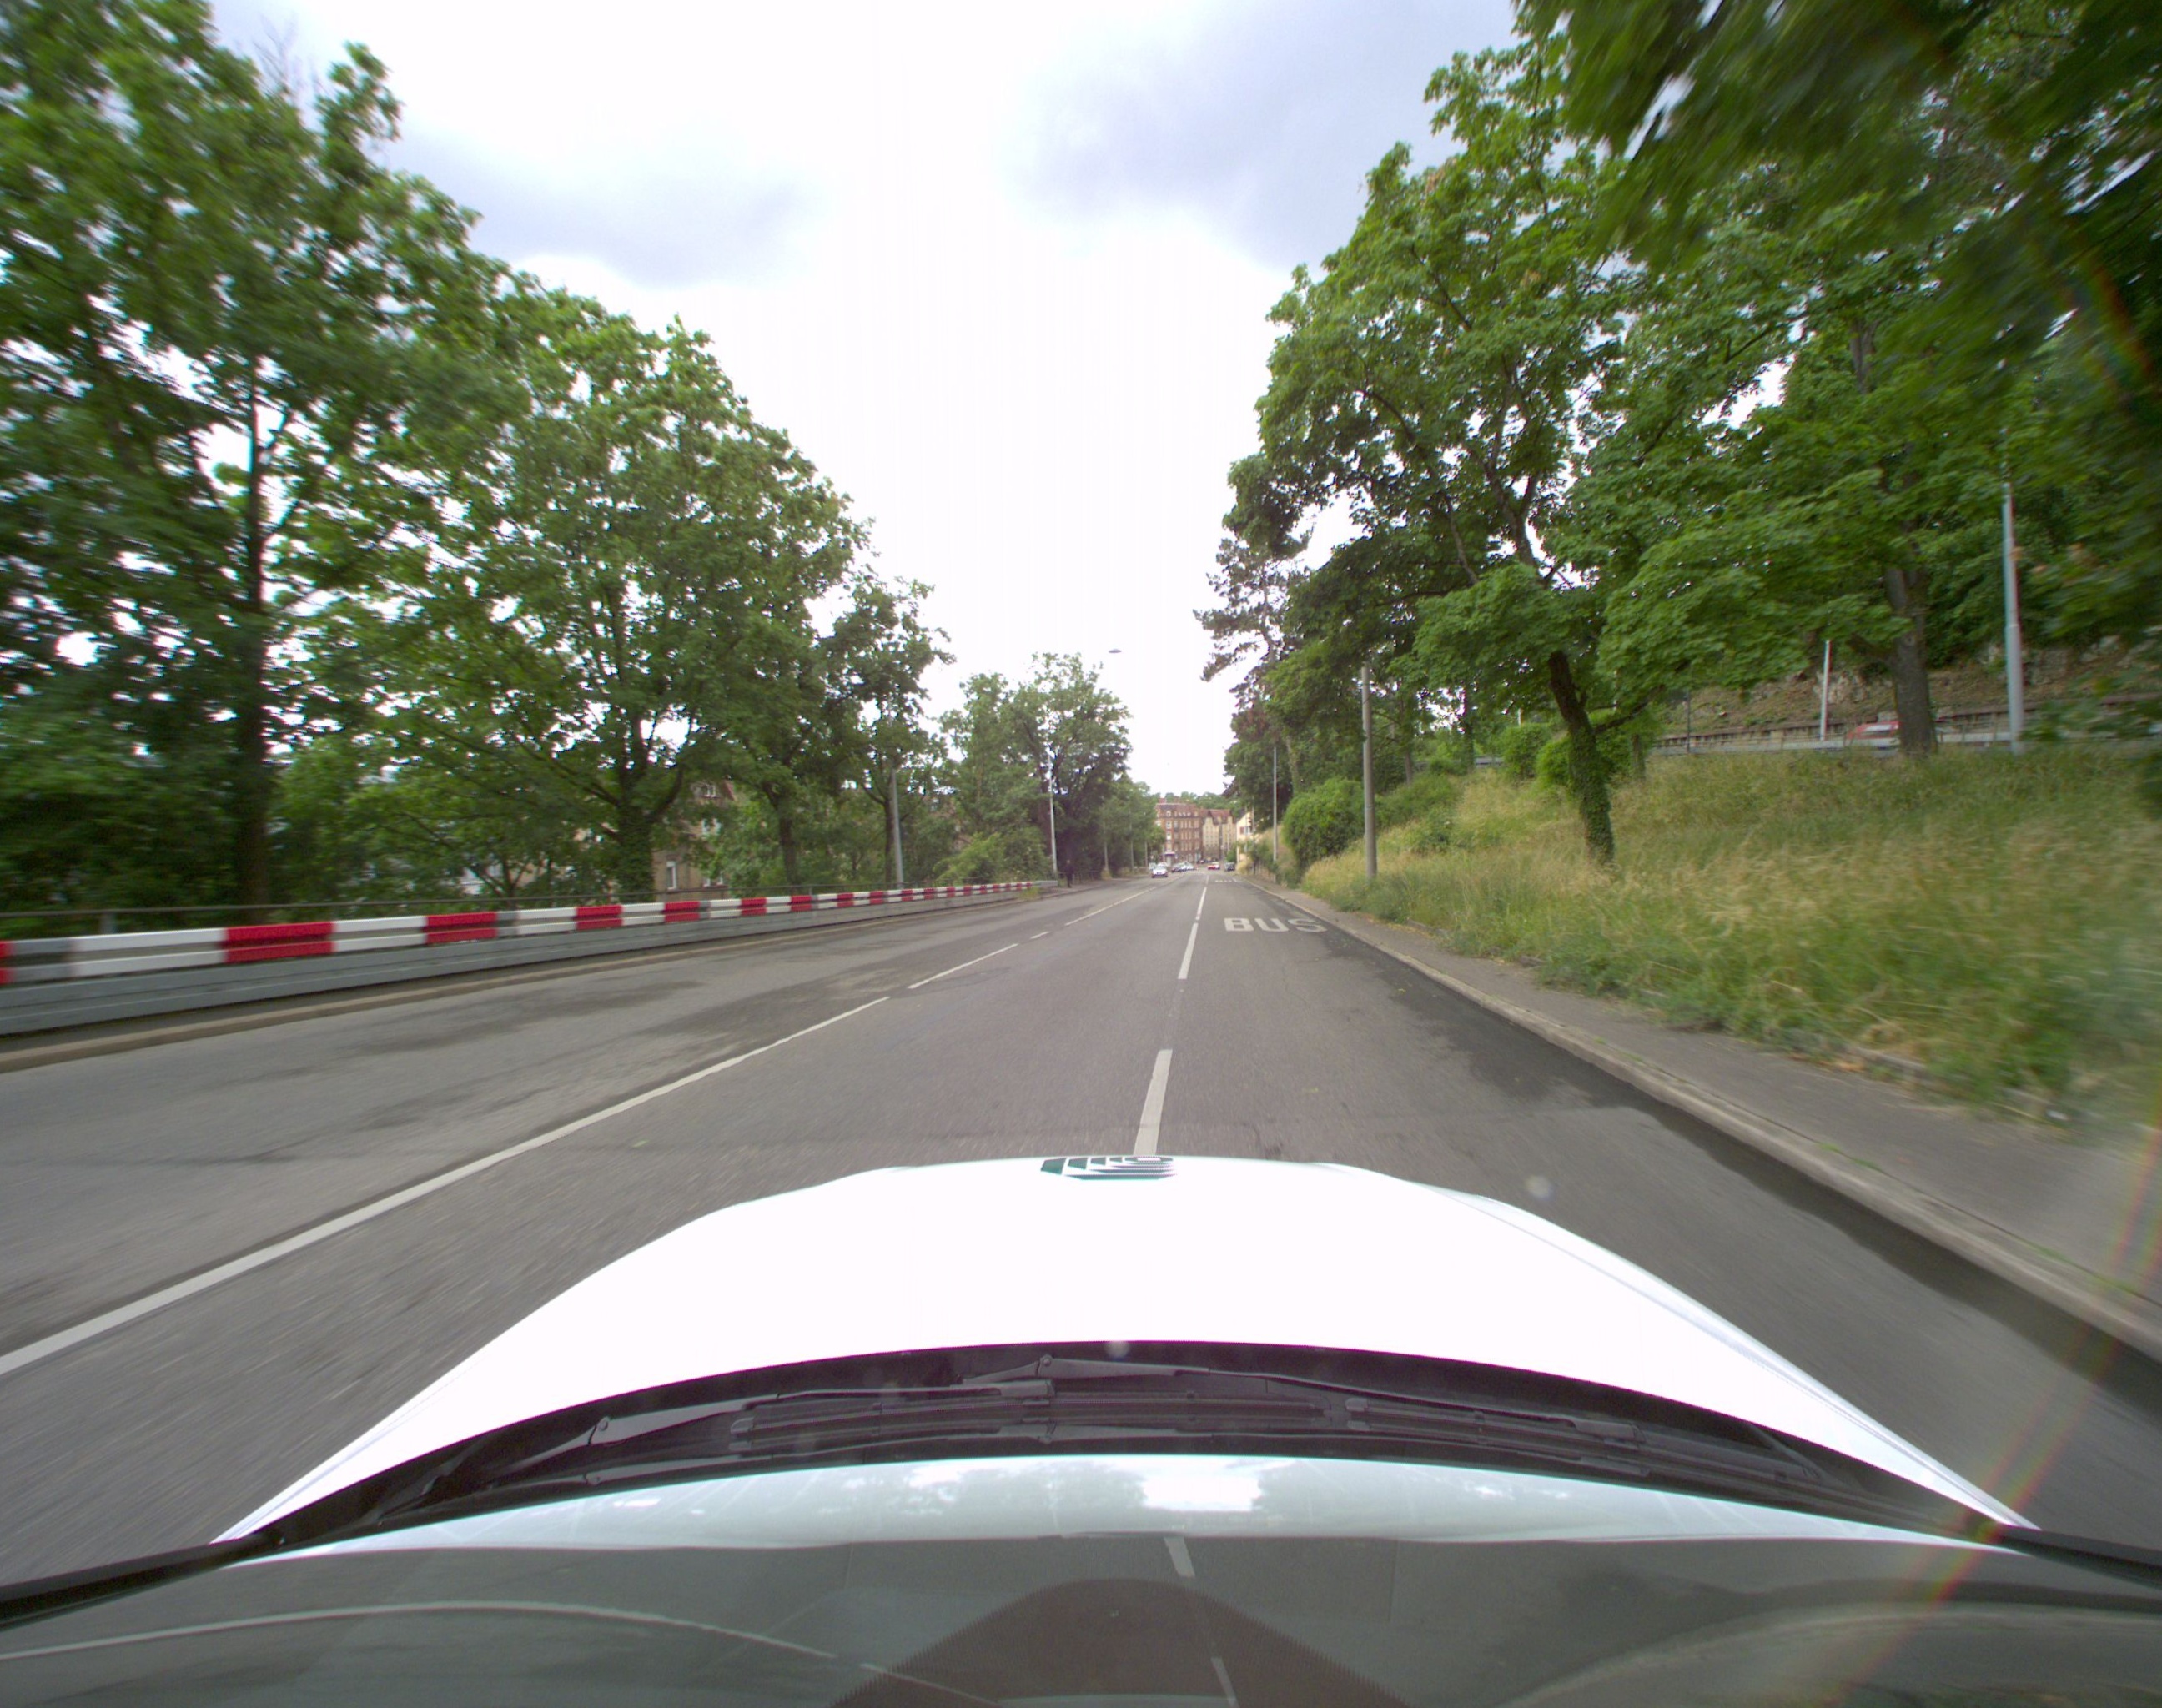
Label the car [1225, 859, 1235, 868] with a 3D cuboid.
[{"bbox_3d":[26.738,1.669,146.309,1.672,1.451,4.009,-5,-2,9],"label":"car"}]

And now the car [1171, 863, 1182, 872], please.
[{"bbox_3d":[16.550,2.386,140.715,1.659,1.447,3.698,-3,-1,9],"label":"car"}]

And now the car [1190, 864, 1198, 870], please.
[{"bbox_3d":[29.662,3.516,213.721,1.773,1.459,4.438,-2,-1,8],"label":"car"}]

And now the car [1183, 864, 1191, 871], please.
[{"bbox_3d":[25.325,3.168,194.115,1.773,1.574,4.290,-2,-1,8],"label":"car"}]

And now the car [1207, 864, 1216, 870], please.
[{"bbox_3d":[32.786,3.323,204.859,1.804,1.430,4.014,0,-1,13],"label":"car"}]

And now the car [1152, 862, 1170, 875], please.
[{"bbox_3d":[9.320,1.642,94.726,1.783,1.427,4.154,-1,-1,9],"label":"car"}]

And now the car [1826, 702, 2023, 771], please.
[{"bbox_3d":[26.546,-3.636,25.836,1.796,1.510,3.982,-1,-1,-13],"label":"car"}]

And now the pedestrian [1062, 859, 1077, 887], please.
[{"bbox_3d":[-0.740,1.233,53.739,0.784,1.774,1.211,1,-1,6],"label":"pedestrian"}]
